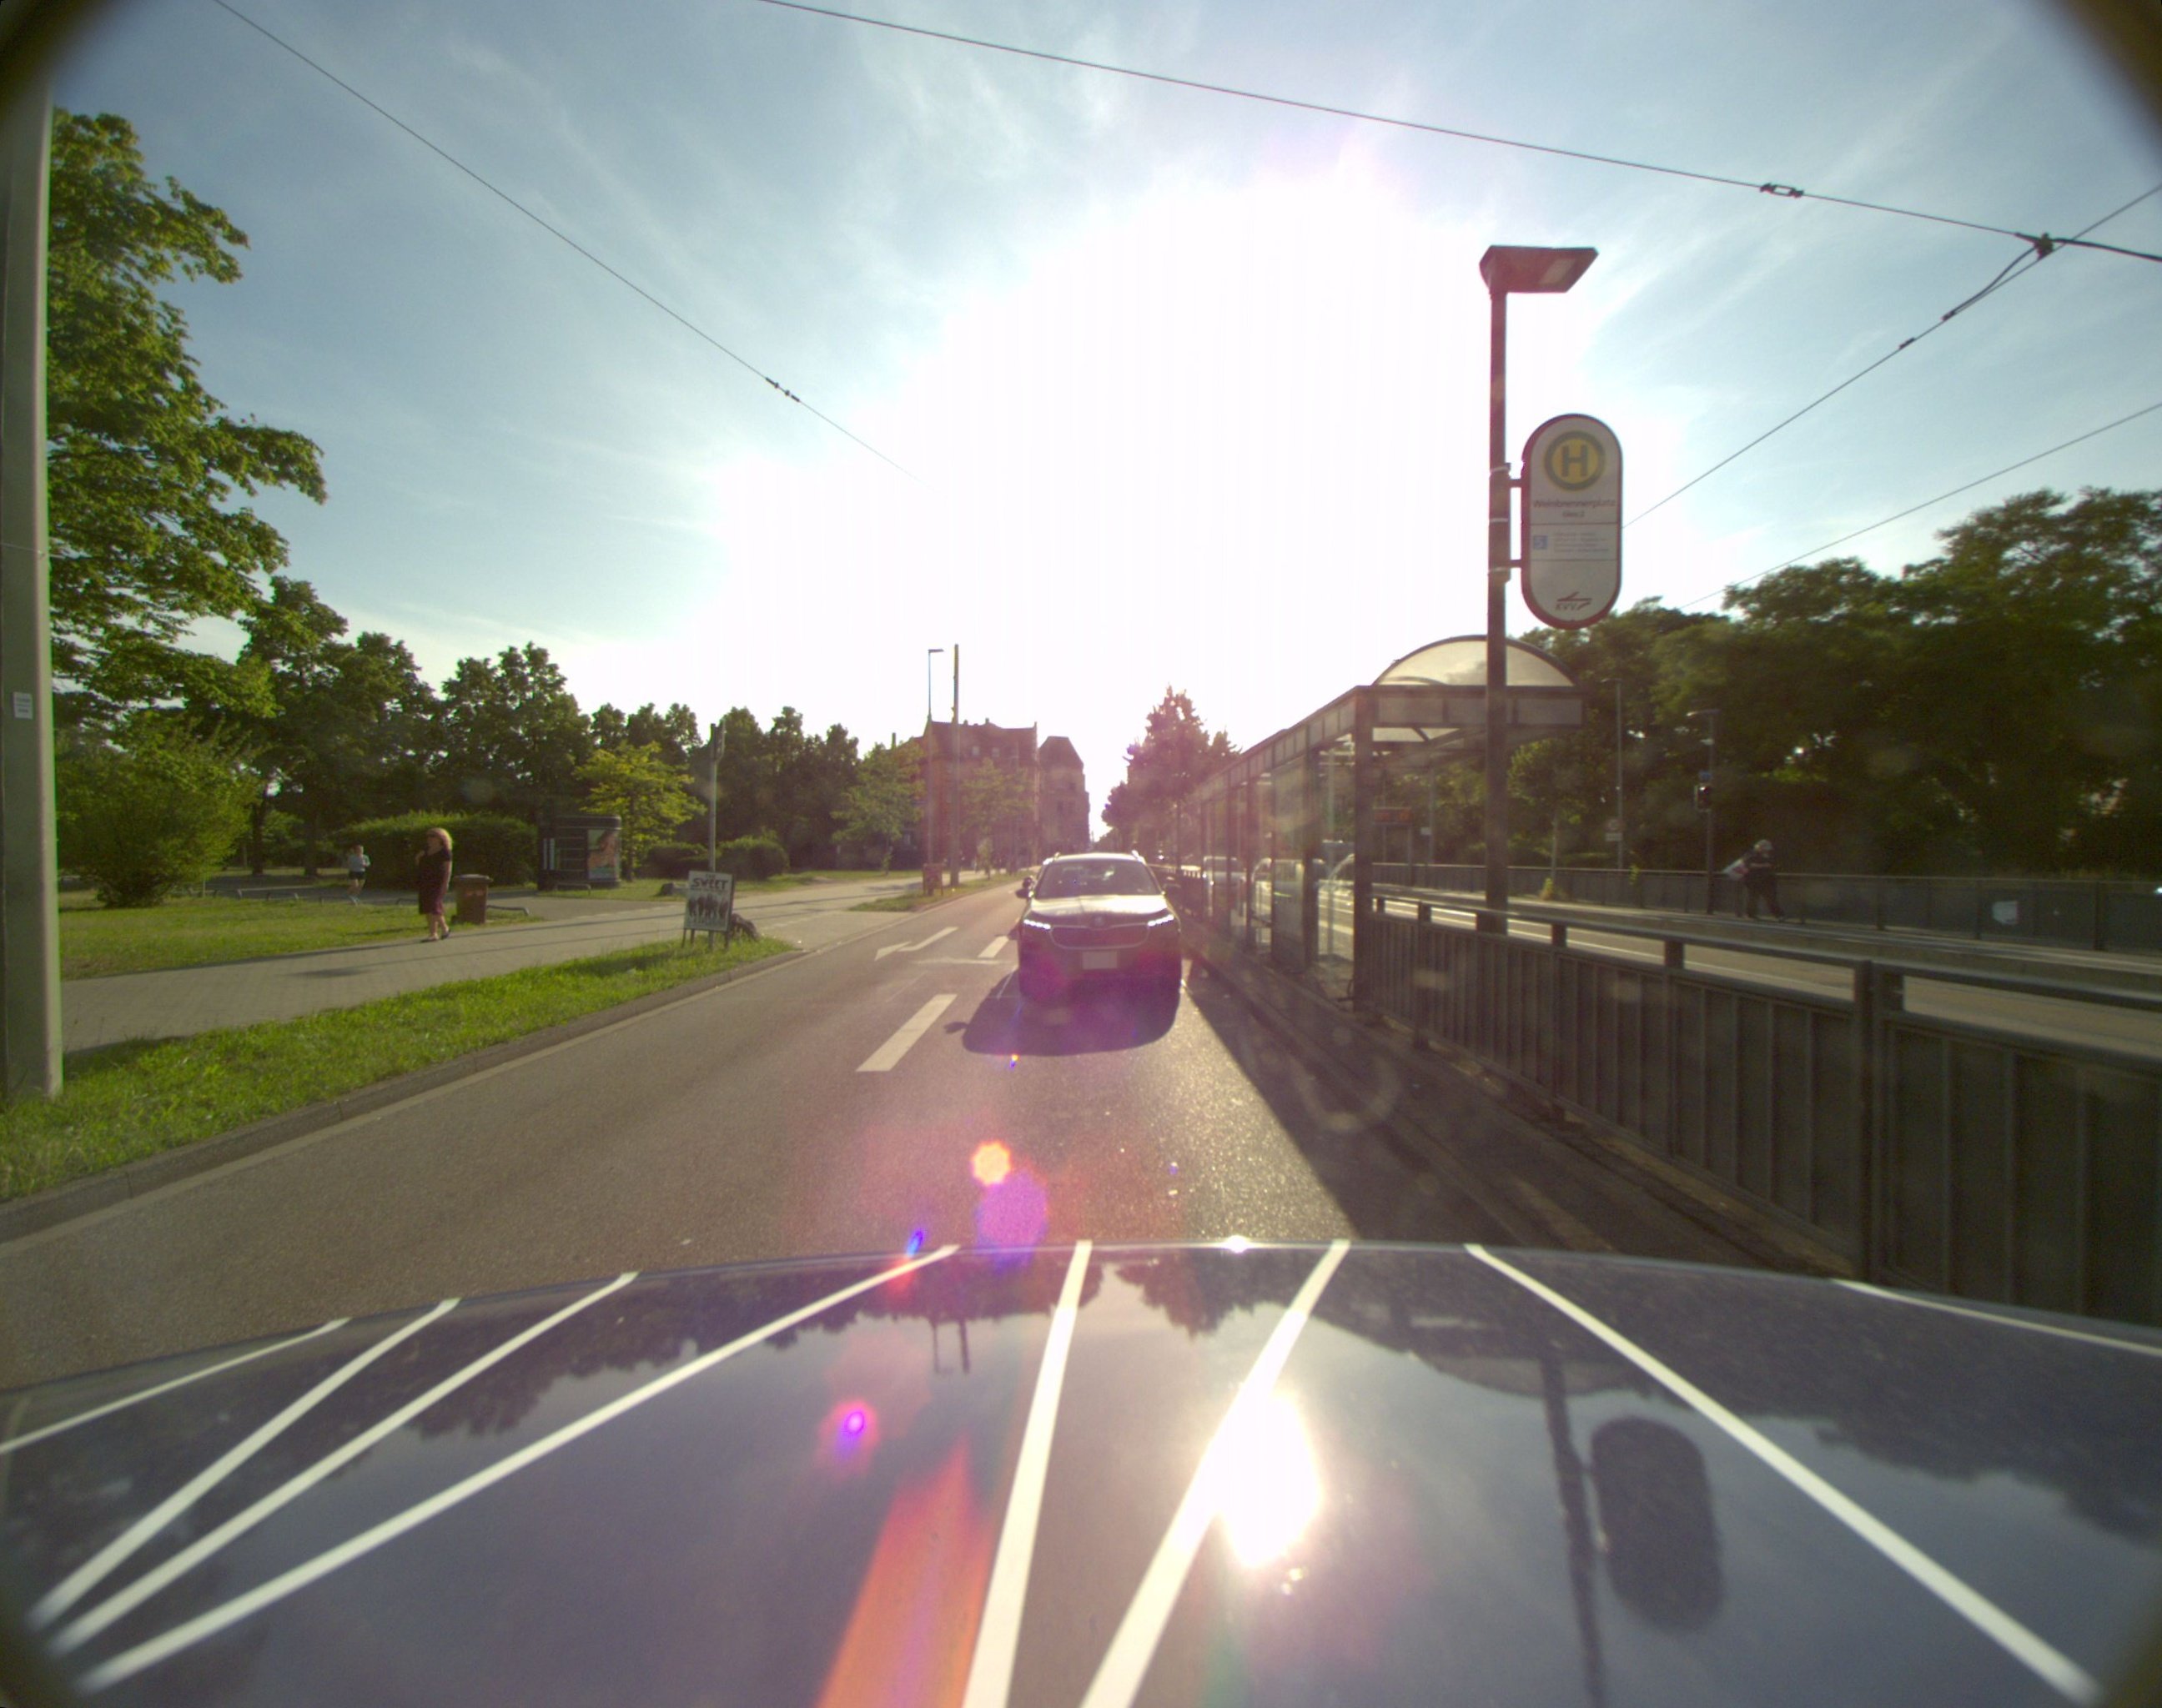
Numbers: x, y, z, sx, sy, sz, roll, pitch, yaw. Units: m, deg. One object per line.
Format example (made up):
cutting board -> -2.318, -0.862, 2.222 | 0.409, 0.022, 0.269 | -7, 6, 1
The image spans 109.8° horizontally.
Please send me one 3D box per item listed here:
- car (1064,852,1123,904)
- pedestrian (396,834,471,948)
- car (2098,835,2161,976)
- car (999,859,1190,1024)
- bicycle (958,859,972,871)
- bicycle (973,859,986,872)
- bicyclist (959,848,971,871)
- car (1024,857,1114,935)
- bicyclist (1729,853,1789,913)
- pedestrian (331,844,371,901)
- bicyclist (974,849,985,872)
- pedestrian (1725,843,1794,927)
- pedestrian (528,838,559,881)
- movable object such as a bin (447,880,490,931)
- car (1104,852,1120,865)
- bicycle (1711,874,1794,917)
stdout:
car -> 0.378, 0.684, 23.745 | 1.672, 1.496, 3.871 | 0, 0, 1
pedestrian -> -9.831, 0.549, 11.554 | 0.558, 1.691, 0.662 | 0, 1, 0
car -> 16.373, 0.739, 8.738 | 2.150, 2.002, 5.387 | 0, 0, 1
car -> 0.152, 0.835, 9.114 | 1.781, 1.496, 4.000 | 0, 0, 1
bicycle -> -9.021, 0.866, 59.081 | 0.740, 0.912, 2.094 | 0, 0, 0
bicycle -> -7.836, 0.881, 58.795 | 0.740, 0.912, 2.094 | 0, 0, 0
bicyclist -> -9.015, 0.408, 59.072 | 0.754, 1.763, 1.118 | 0, 1, -1
car -> -0.216, 0.843, 17.068 | 1.781, 1.496, 4.000 | 0, 0, 1
bicyclist -> 19.104, 0.810, 21.438 | 0.706, 1.614, 1.072 | -3, 0, 2
pedestrian -> -21.356, 0.536, 22.229 | 0.660, 1.641, 0.623 | 1, 1, 26
bicyclist -> -7.838, 0.481, 58.893 | 0.730, 1.763, 1.015 | 0, 1, -1
pedestrian -> 13.492, 0.604, 15.128 | 0.736, 1.618, 0.689 | 0, 1, 1
pedestrian -> -27.238, 0.291, 38.508 | 0.910, 2.145, 0.891 | 0, 1, 13
movable object such as a bin -> -11.327, 0.939, 14.049 | 0.502, 0.898, 0.526 | 1, 1, 39
car -> 4.316, 0.603, 106.460 | 1.999, 1.674, 3.999 | 0, 0, -1
bicycle -> 19.109, 1.149, 21.676 | 0.727, 1.103, 1.865 | -2, 0, 2
